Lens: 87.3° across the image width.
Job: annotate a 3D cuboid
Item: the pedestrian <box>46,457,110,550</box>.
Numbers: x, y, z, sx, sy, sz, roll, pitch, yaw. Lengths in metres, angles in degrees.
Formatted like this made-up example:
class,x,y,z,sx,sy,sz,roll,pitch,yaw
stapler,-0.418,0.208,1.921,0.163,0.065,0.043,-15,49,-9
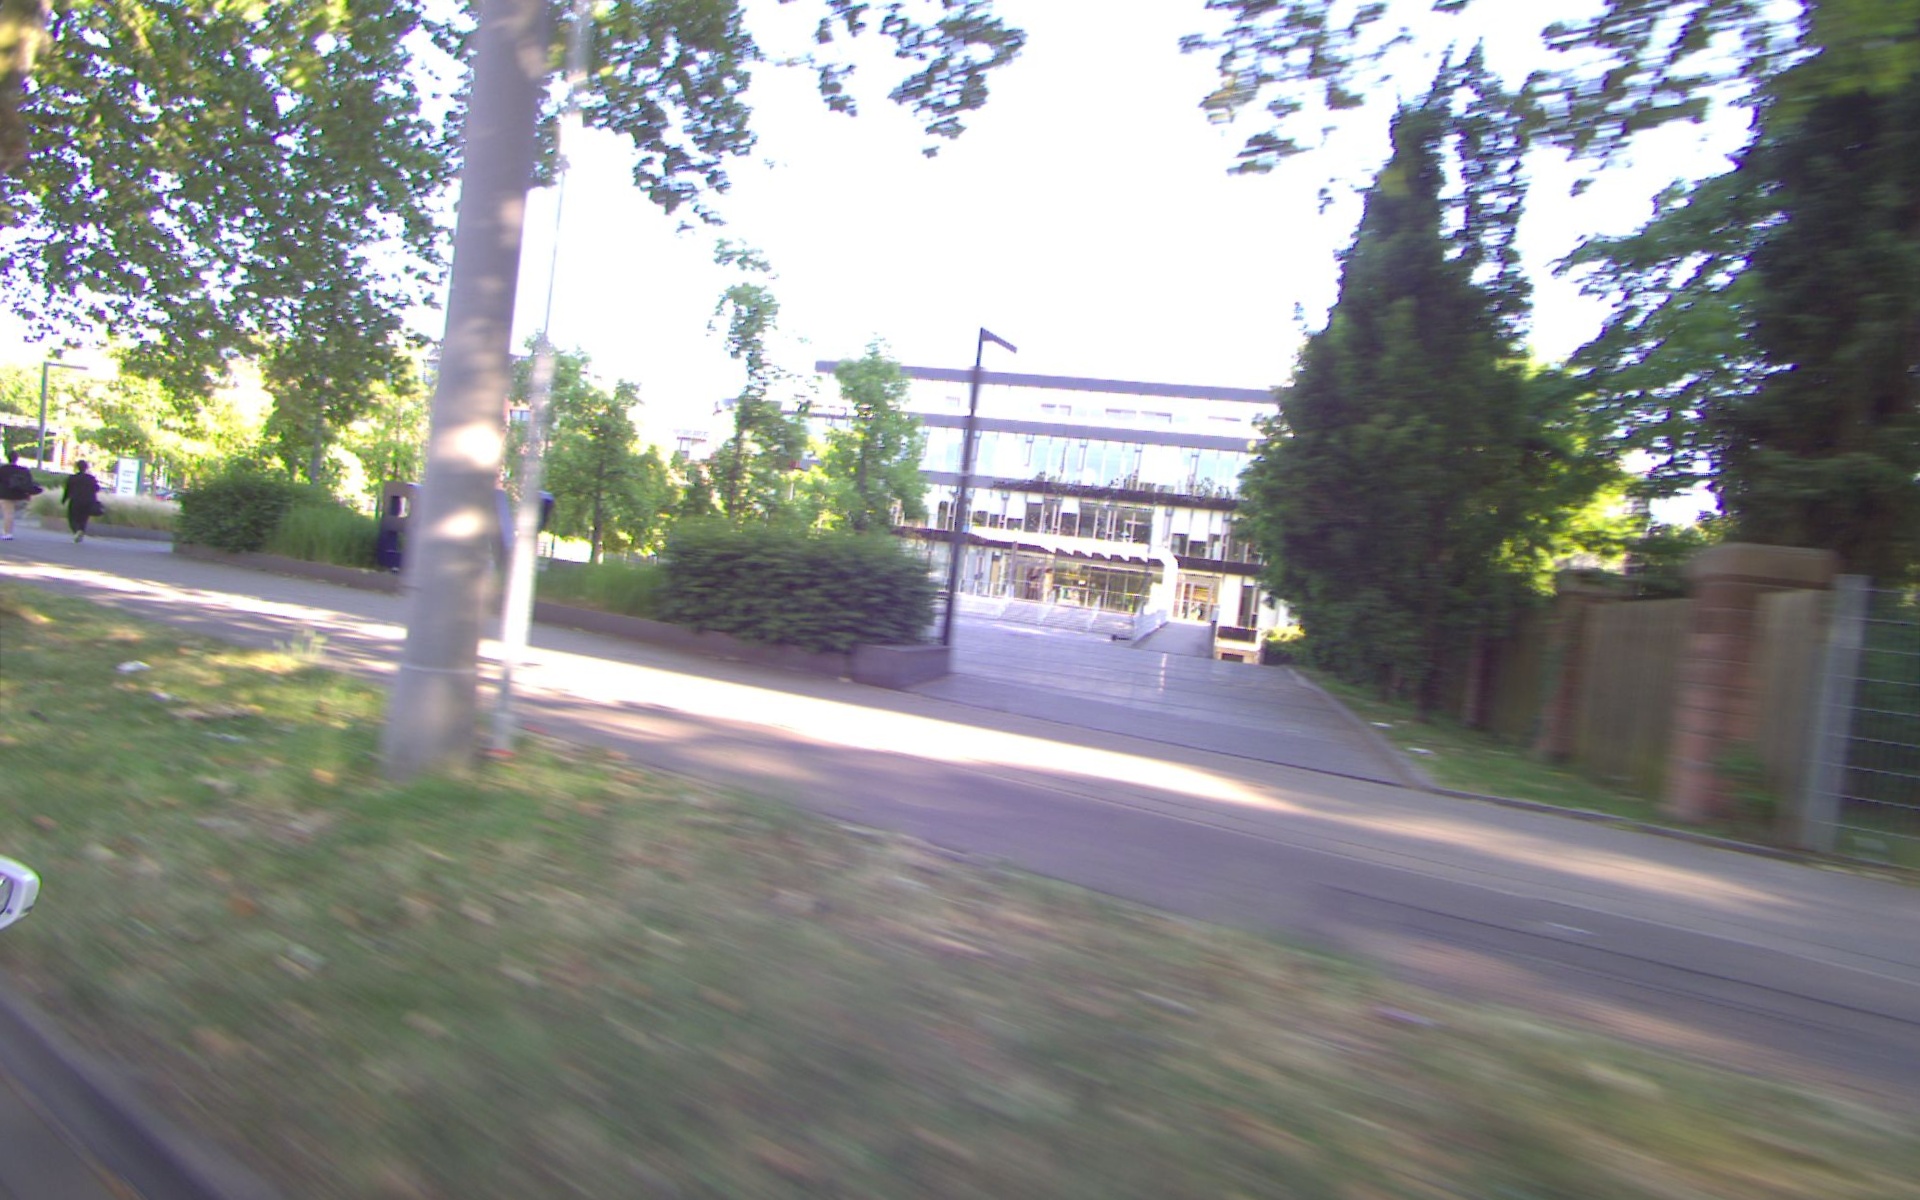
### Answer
class,x,y,z,sx,sy,sz,roll,pitch,yaw
pedestrian,-17.083,-1.857,19.480,0.770,1.678,0.650,7,2,31

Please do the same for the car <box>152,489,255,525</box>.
class,x,y,z,sx,sy,sz,roll,pitch,yaw
car,-44.775,-5.469,59.707,1.925,1.485,4.685,8,2,12

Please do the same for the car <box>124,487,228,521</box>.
class,x,y,z,sx,sy,sz,roll,pitch,yaw
car,-47.037,-5.724,60.472,1.936,1.401,4.685,8,2,12

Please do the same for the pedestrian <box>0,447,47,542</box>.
class,x,y,z,sx,sy,sz,roll,pitch,yaw
pedestrian,-17.579,-1.963,18.717,0.727,1.678,0.628,7,2,31
